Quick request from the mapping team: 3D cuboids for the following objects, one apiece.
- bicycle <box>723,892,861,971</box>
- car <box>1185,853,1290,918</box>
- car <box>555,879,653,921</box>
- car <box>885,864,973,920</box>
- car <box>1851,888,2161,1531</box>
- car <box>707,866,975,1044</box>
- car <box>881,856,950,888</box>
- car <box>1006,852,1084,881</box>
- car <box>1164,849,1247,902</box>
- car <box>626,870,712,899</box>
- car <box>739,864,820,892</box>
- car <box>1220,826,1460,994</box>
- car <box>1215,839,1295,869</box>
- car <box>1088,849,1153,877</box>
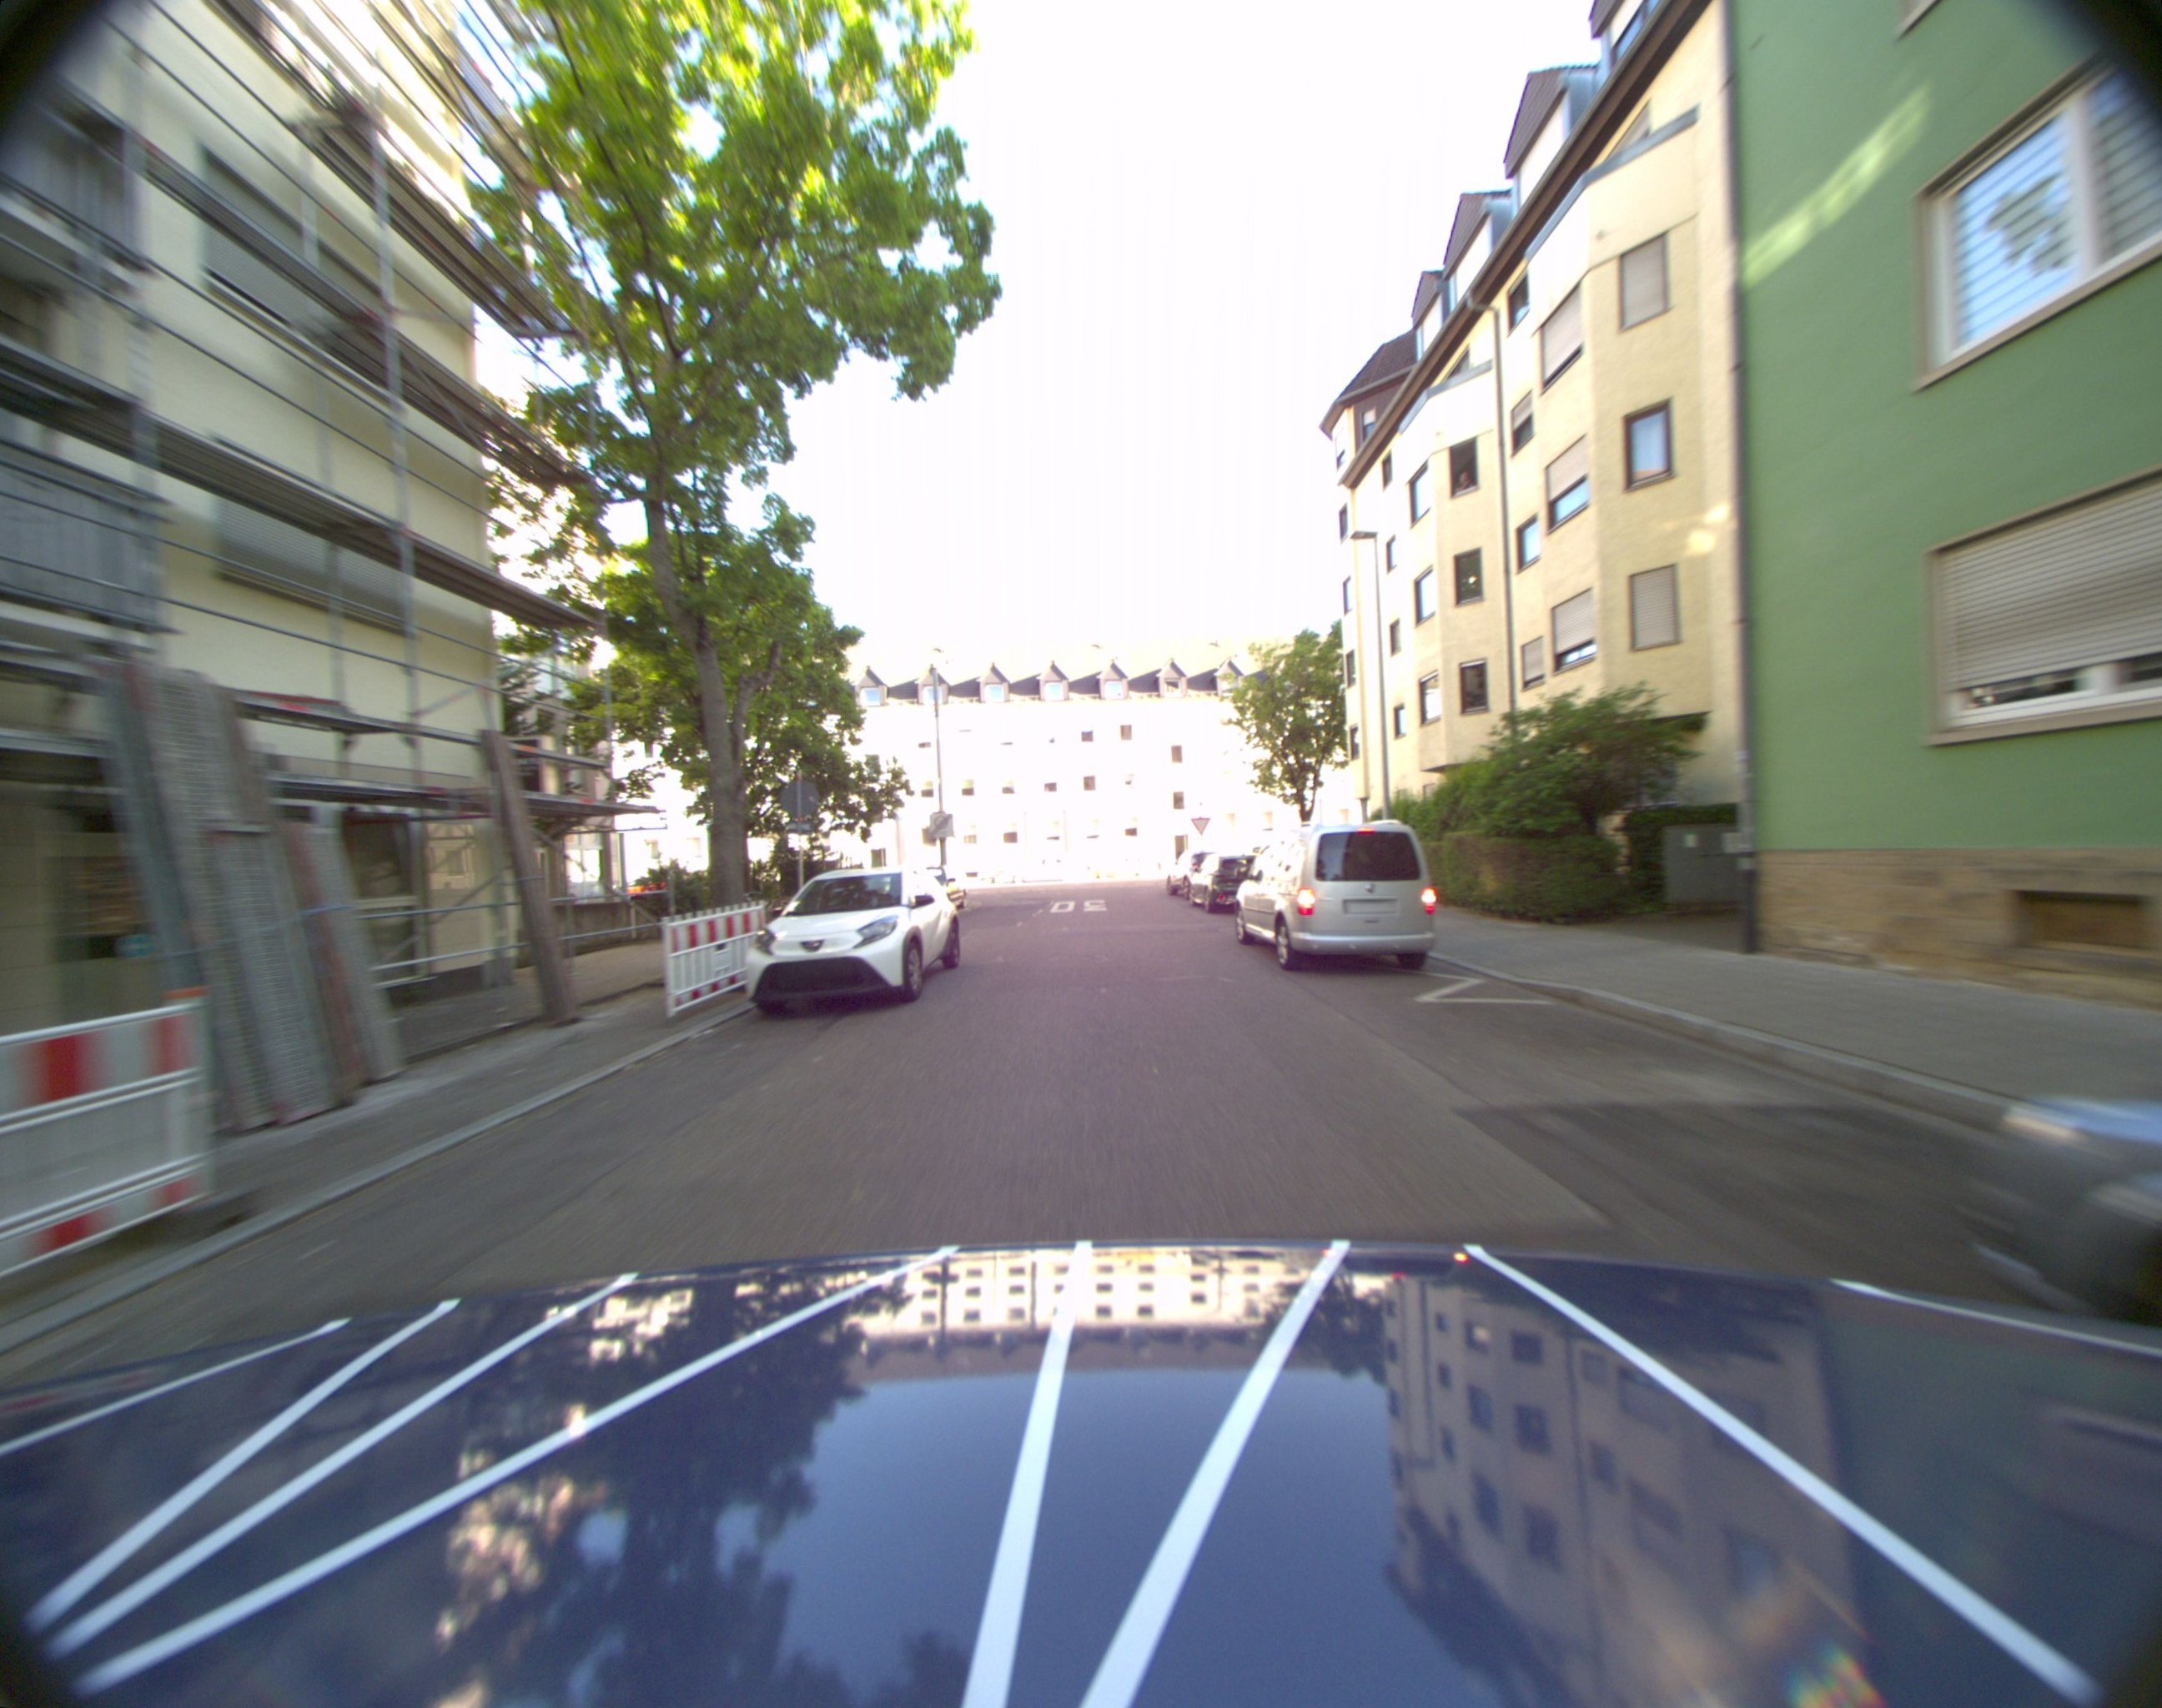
[{"bbox_3d":[-4.564,1.211,12.146,1.973,1.148,0.751,0,1,-13],"label":"bicycle"},{"bbox_3d":[3.804,0.710,19.176,1.770,1.444,4.207,0,0,0],"label":"car"},{"bbox_3d":[-18.348,1.758,29.313,2.880,1.348,1.261,-3,2,-10],"label":"car"},{"bbox_3d":[-4.392,1.043,22.555,1.665,1.399,4.507,0,1,1],"label":"car"},{"bbox_3d":[3.422,0.863,0.226,1.724,1.454,4.505,0,1,-2],"label":"car"},{"bbox_3d":[-2.618,1.017,9.375,1.806,1.527,3.964,-4,0,2],"label":"car"},{"bbox_3d":[-9.645,1.057,44.563,3.706,1.598,1.648,-4,1,-7],"label":"car"},{"bbox_3d":[-2.184,0.726,45.411,4.493,1.498,1.944,-3,1,-5],"label":"car"},{"bbox_3d":[3.911,0.620,24.527,1.724,1.546,4.071,-1,0,-5],"label":"car"},{"bbox_3d":[-23.453,1.734,43.354,3.999,1.344,1.549,-3,1,-6],"label":"car"},{"bbox_3d":[-17.341,1.362,43.869,3.999,1.344,1.549,-3,1,-6],"label":"car"},{"bbox_3d":[3.262,0.585,10.568,1.776,1.833,4.414,-1,1,-1],"label":"car"},{"bbox_3d":[10.705,0.004,46.917,4.285,1.548,1.998,-4,1,-8],"label":"car"},{"bbox_3d":[2.362,0.504,45.932,3.613,1.440,1.553,-3,2,-7],"label":"car"}]
